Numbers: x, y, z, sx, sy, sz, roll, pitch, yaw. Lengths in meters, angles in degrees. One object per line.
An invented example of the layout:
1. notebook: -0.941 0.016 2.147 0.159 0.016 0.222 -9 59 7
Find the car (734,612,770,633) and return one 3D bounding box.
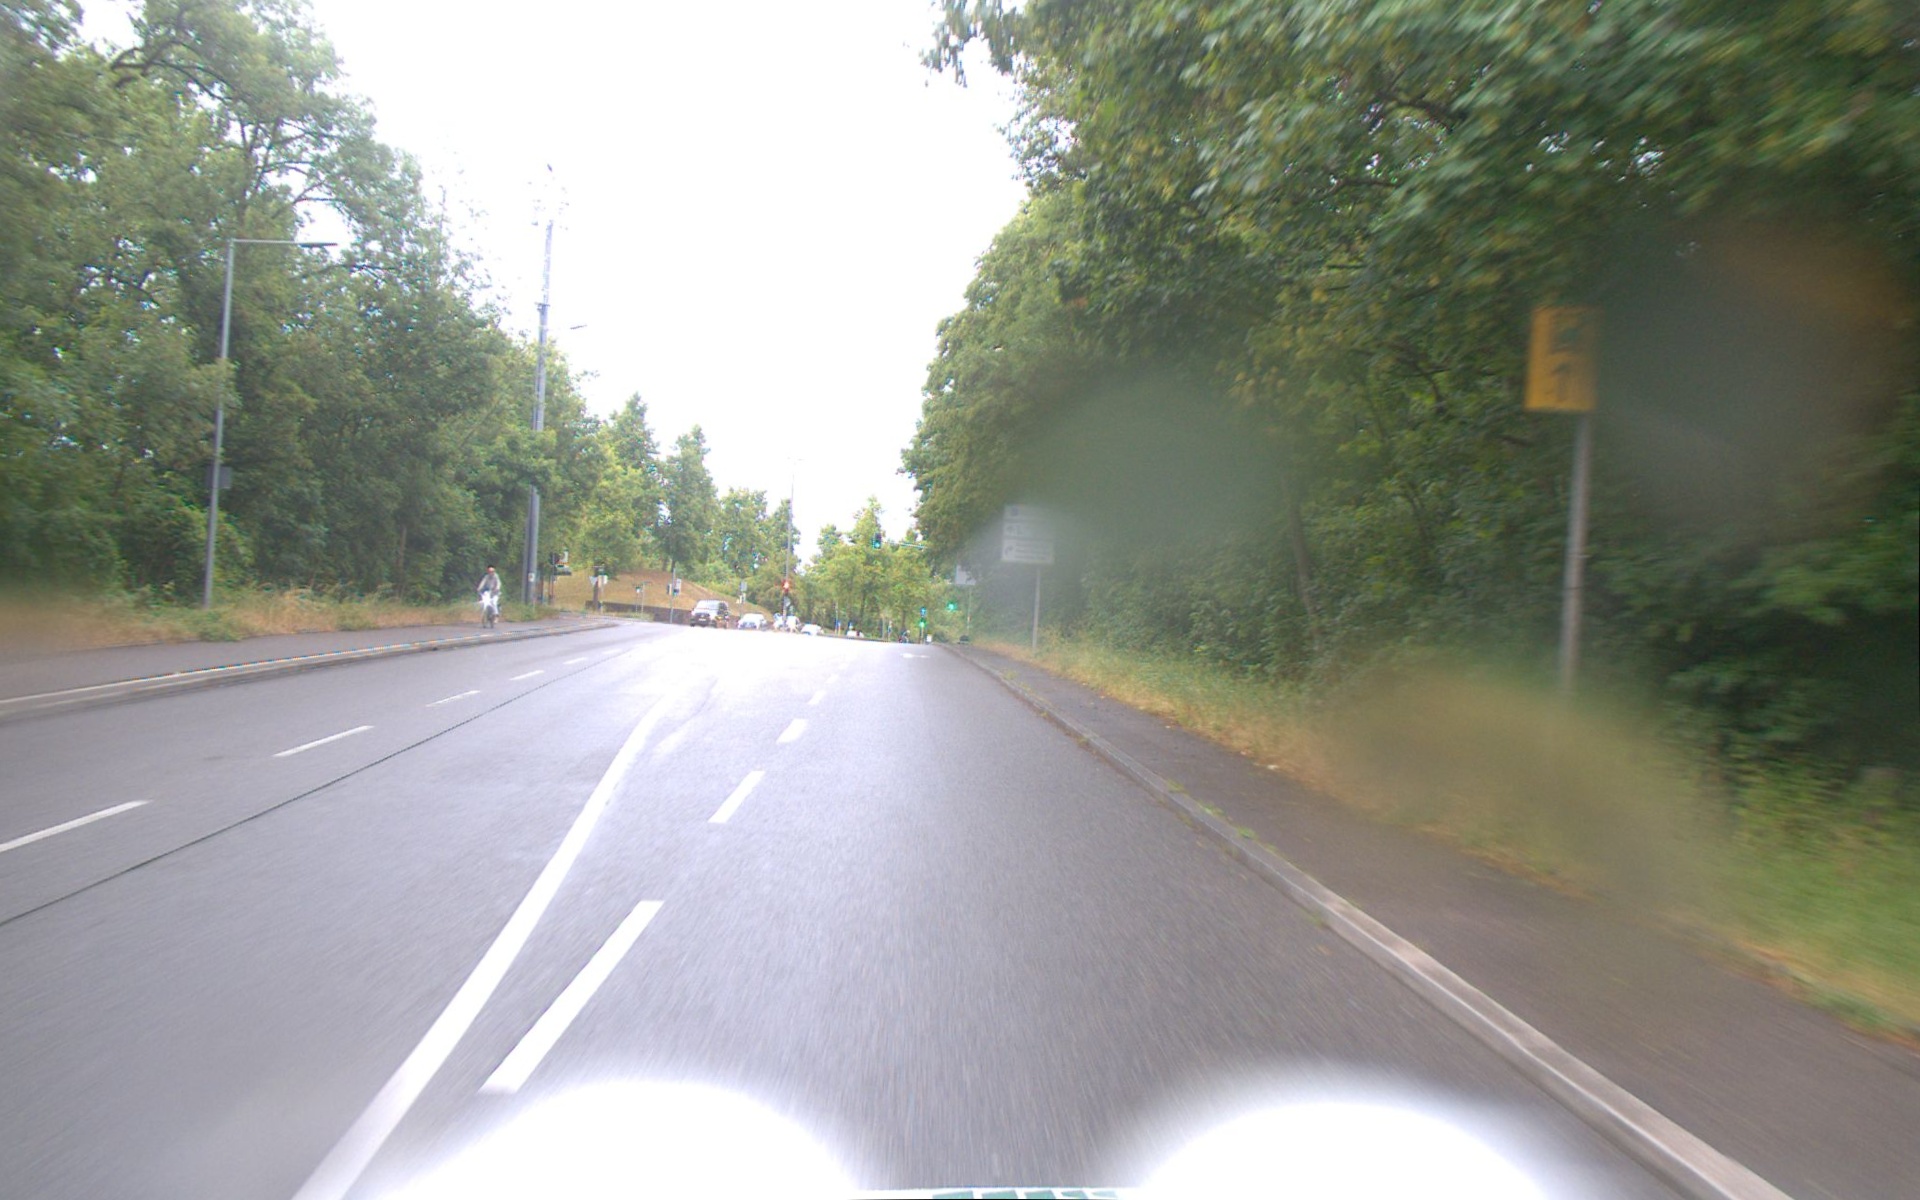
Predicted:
1. car: -16.208 1.768 128.754 1.857 1.578 4.002 1 -2 7

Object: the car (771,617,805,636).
1. car: -13.093 2.013 126.279 1.857 1.378 4.002 1 -2 5

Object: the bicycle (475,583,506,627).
1. bicycle: -13.993 0.126 49.308 0.692 1.264 2.158 2 0 -11

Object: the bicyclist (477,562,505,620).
1. bicyclist: -13.985 -0.267 49.366 0.692 1.673 0.948 2 0 -12

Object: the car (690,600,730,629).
1. car: -17.160 1.012 113.625 1.952 1.881 4.001 1 -2 2

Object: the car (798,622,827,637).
1. car: -13.525 2.717 152.064 1.857 1.378 4.002 1 -2 7
